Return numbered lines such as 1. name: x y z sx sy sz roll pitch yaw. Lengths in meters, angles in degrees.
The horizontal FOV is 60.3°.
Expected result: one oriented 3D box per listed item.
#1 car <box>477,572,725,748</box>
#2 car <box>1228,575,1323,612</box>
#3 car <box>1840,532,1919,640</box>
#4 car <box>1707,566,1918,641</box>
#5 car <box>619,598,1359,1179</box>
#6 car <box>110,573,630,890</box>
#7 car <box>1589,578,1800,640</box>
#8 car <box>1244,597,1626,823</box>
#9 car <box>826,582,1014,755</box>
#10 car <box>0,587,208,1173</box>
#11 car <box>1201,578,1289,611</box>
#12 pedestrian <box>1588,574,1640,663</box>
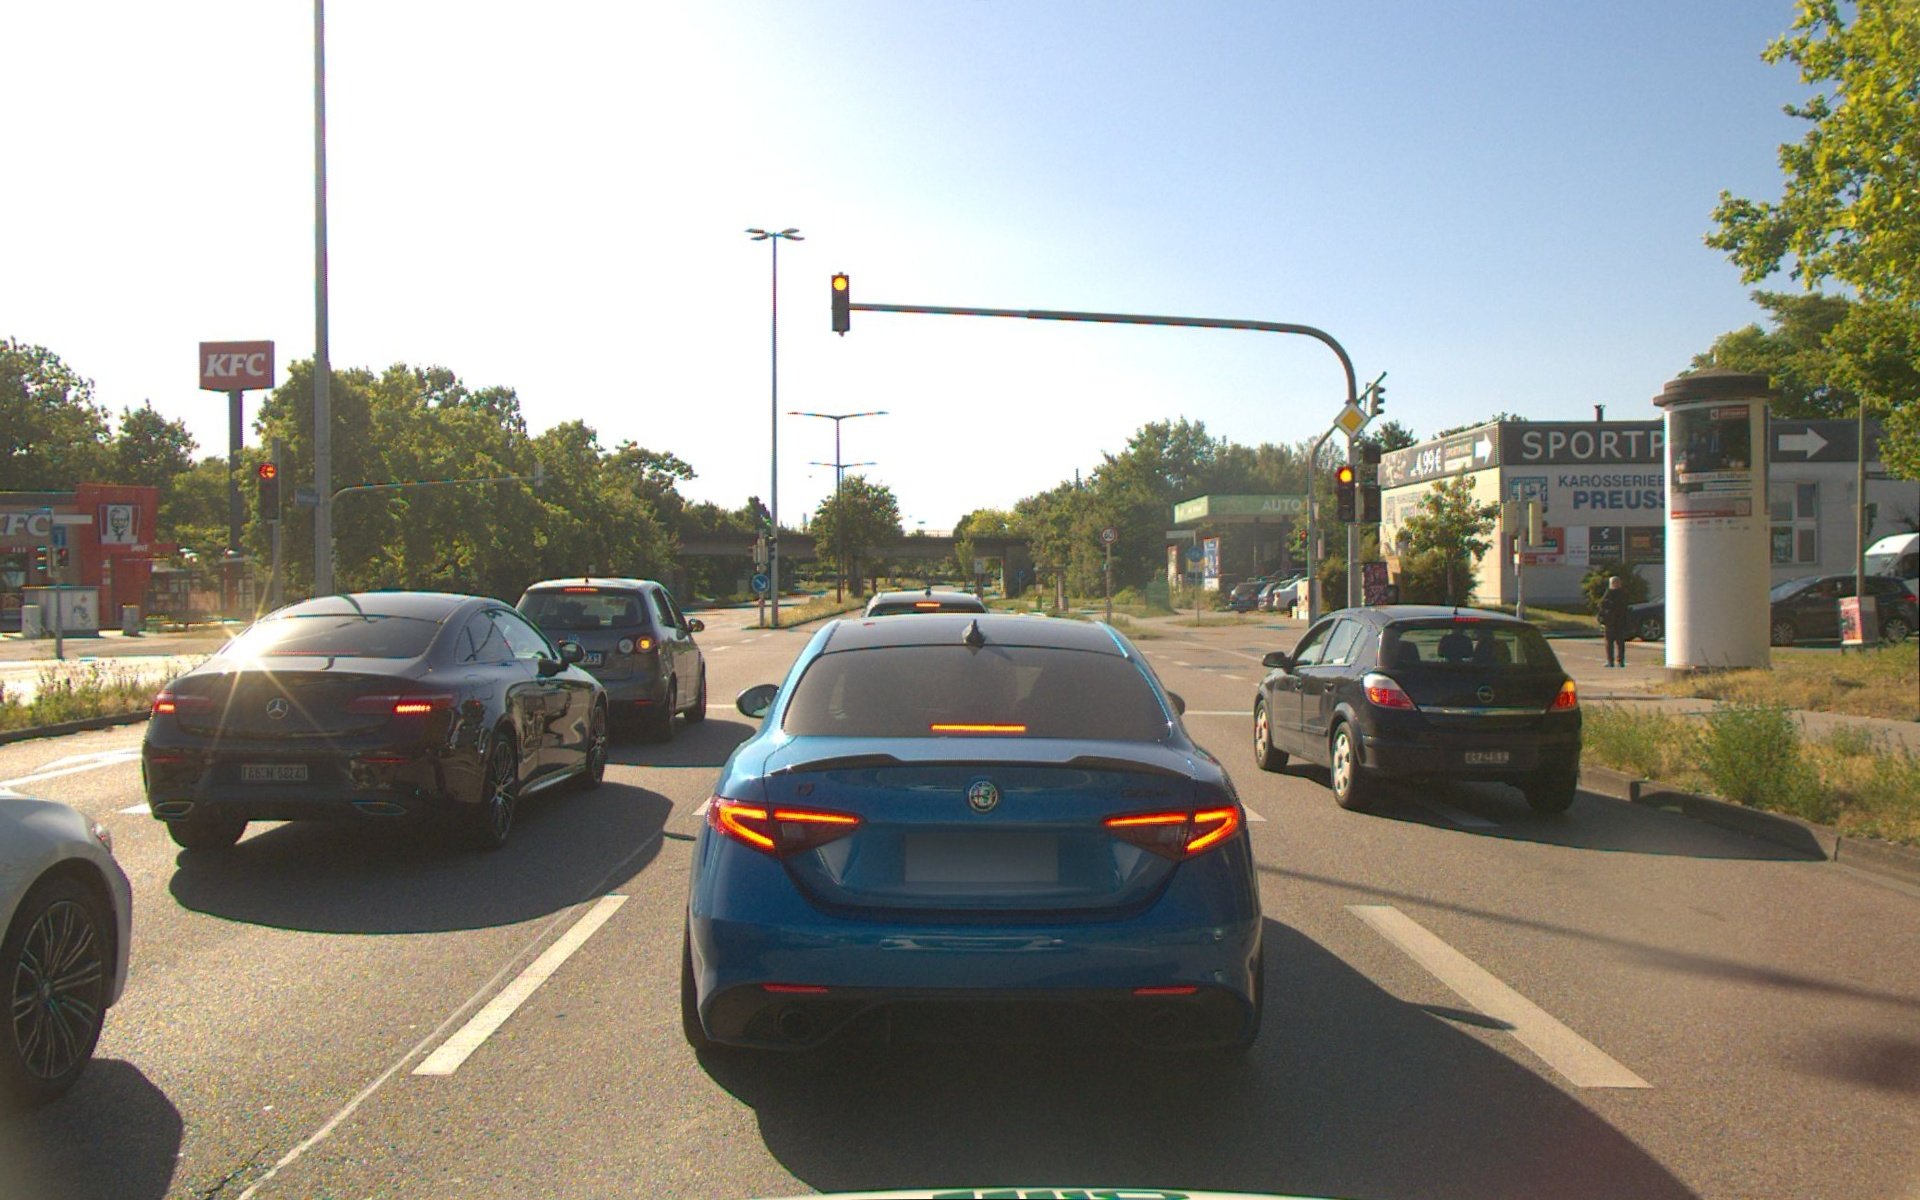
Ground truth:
1. car: -3.597 0.560 17.337 1.776 1.578 4.351 1 0 -2
2. car: 14.253 -0.287 74.893 3.905 1.579 2.000 1 0 0
3. car: 26.313 -0.398 43.038 5.715 2.719 2.000 -1 0 0
4. car: 20.308 0.079 39.481 4.219 1.678 1.637 1 0 -2
5. car: 0.104 0.746 6.090 1.870 1.447 3.719 1 0 1
6. car: -3.409 0.650 10.569 1.775 1.578 4.542 1 0 -1
7. car: 19.036 0.232 42.970 4.722 1.493 1.758 1 0 -3
8. car: 3.535 0.730 13.172 1.699 1.467 4.370 1 0 -1
9. car: -0.332 0.625 16.740 1.669 1.523 3.719 1 0 1
10. car: -3.360 0.728 3.138 1.775 1.512 4.596 0 0 0
11. car: 14.405 -0.248 83.556 3.925 1.579 1.990 1 0 -18
12. pedestrian: 12.659 0.349 32.023 0.800 1.698 0.514 1 -1 -1
